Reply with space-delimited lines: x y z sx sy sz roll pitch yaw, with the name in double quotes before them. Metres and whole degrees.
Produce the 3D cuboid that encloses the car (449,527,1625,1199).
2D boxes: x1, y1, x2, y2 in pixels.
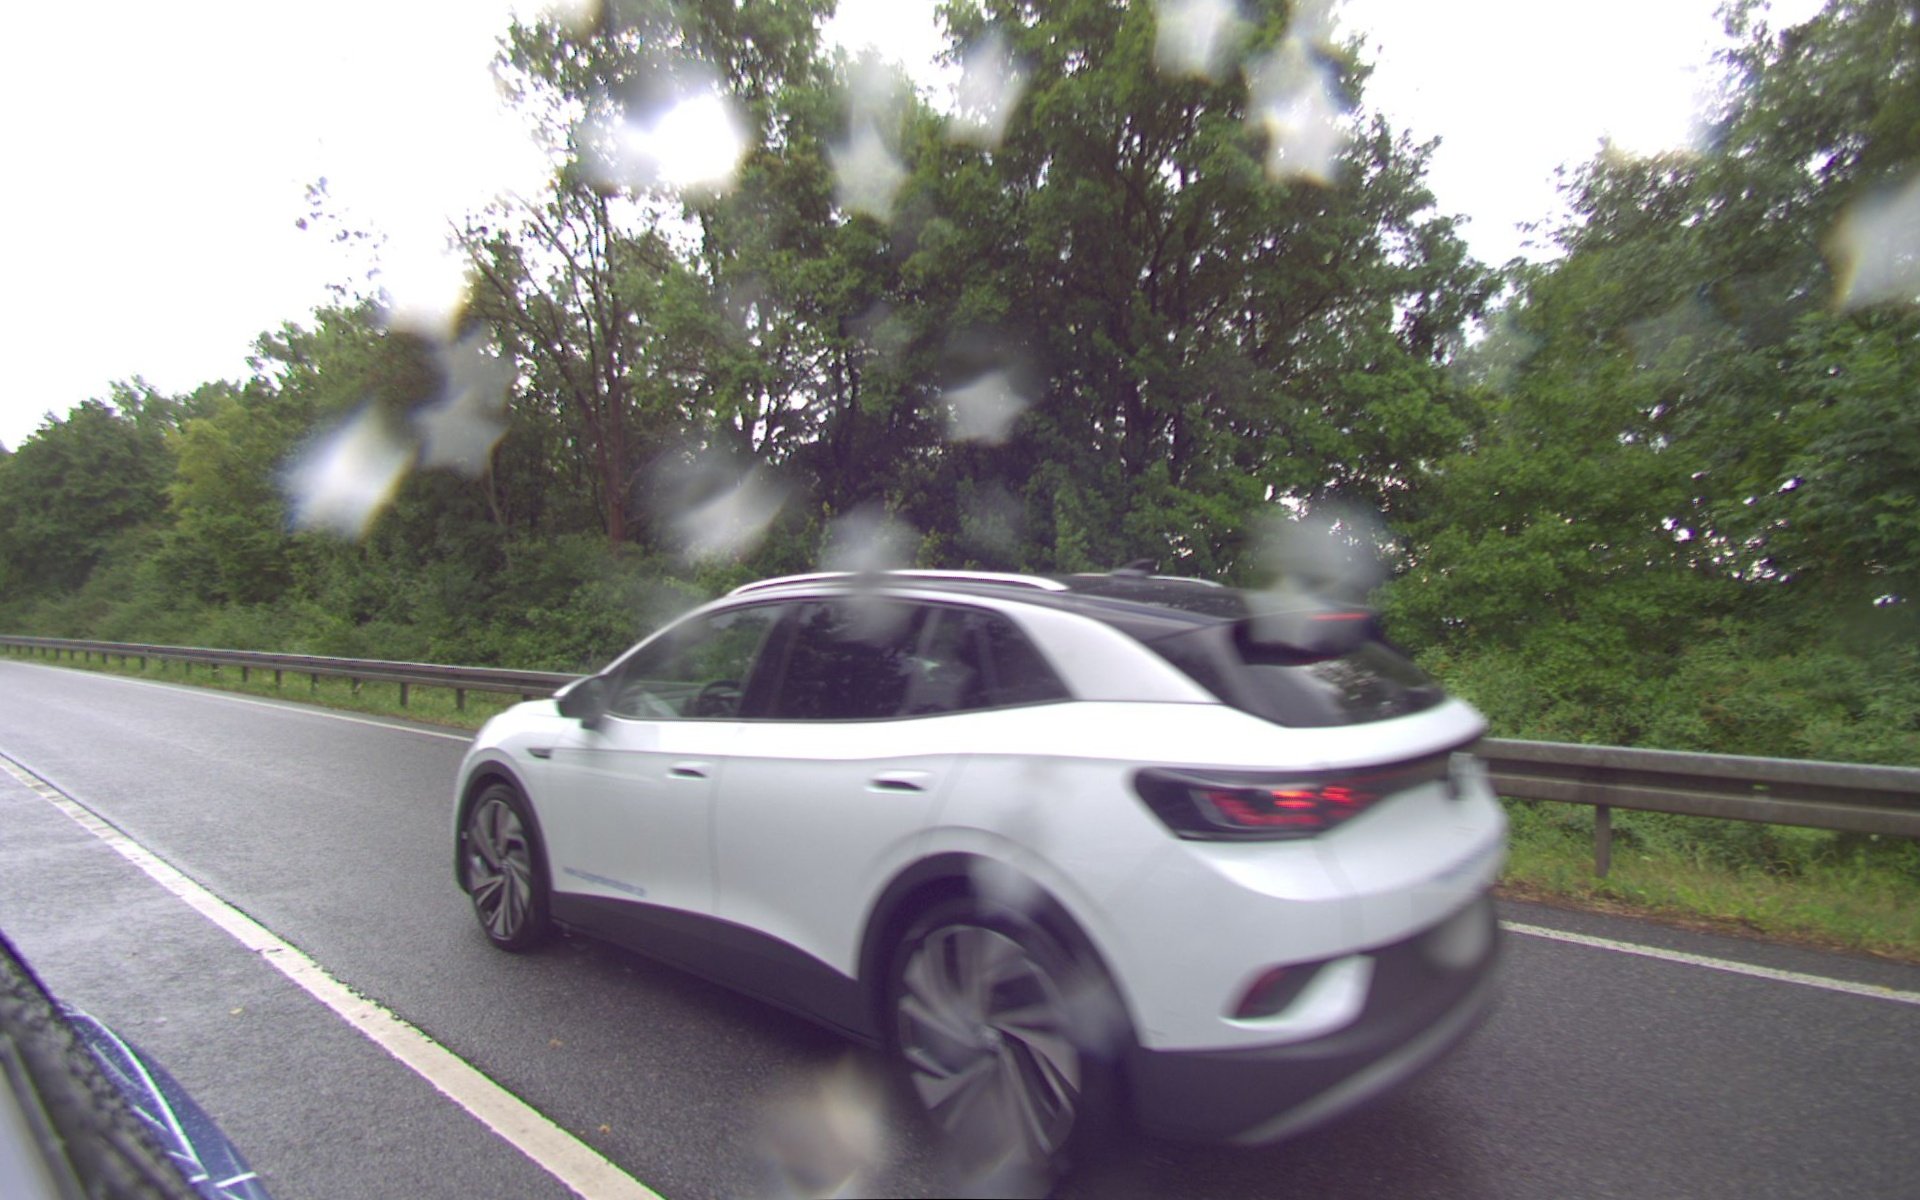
"car" -0.134 0.686 3.819 4.204 1.544 1.788 -1 -1 41
